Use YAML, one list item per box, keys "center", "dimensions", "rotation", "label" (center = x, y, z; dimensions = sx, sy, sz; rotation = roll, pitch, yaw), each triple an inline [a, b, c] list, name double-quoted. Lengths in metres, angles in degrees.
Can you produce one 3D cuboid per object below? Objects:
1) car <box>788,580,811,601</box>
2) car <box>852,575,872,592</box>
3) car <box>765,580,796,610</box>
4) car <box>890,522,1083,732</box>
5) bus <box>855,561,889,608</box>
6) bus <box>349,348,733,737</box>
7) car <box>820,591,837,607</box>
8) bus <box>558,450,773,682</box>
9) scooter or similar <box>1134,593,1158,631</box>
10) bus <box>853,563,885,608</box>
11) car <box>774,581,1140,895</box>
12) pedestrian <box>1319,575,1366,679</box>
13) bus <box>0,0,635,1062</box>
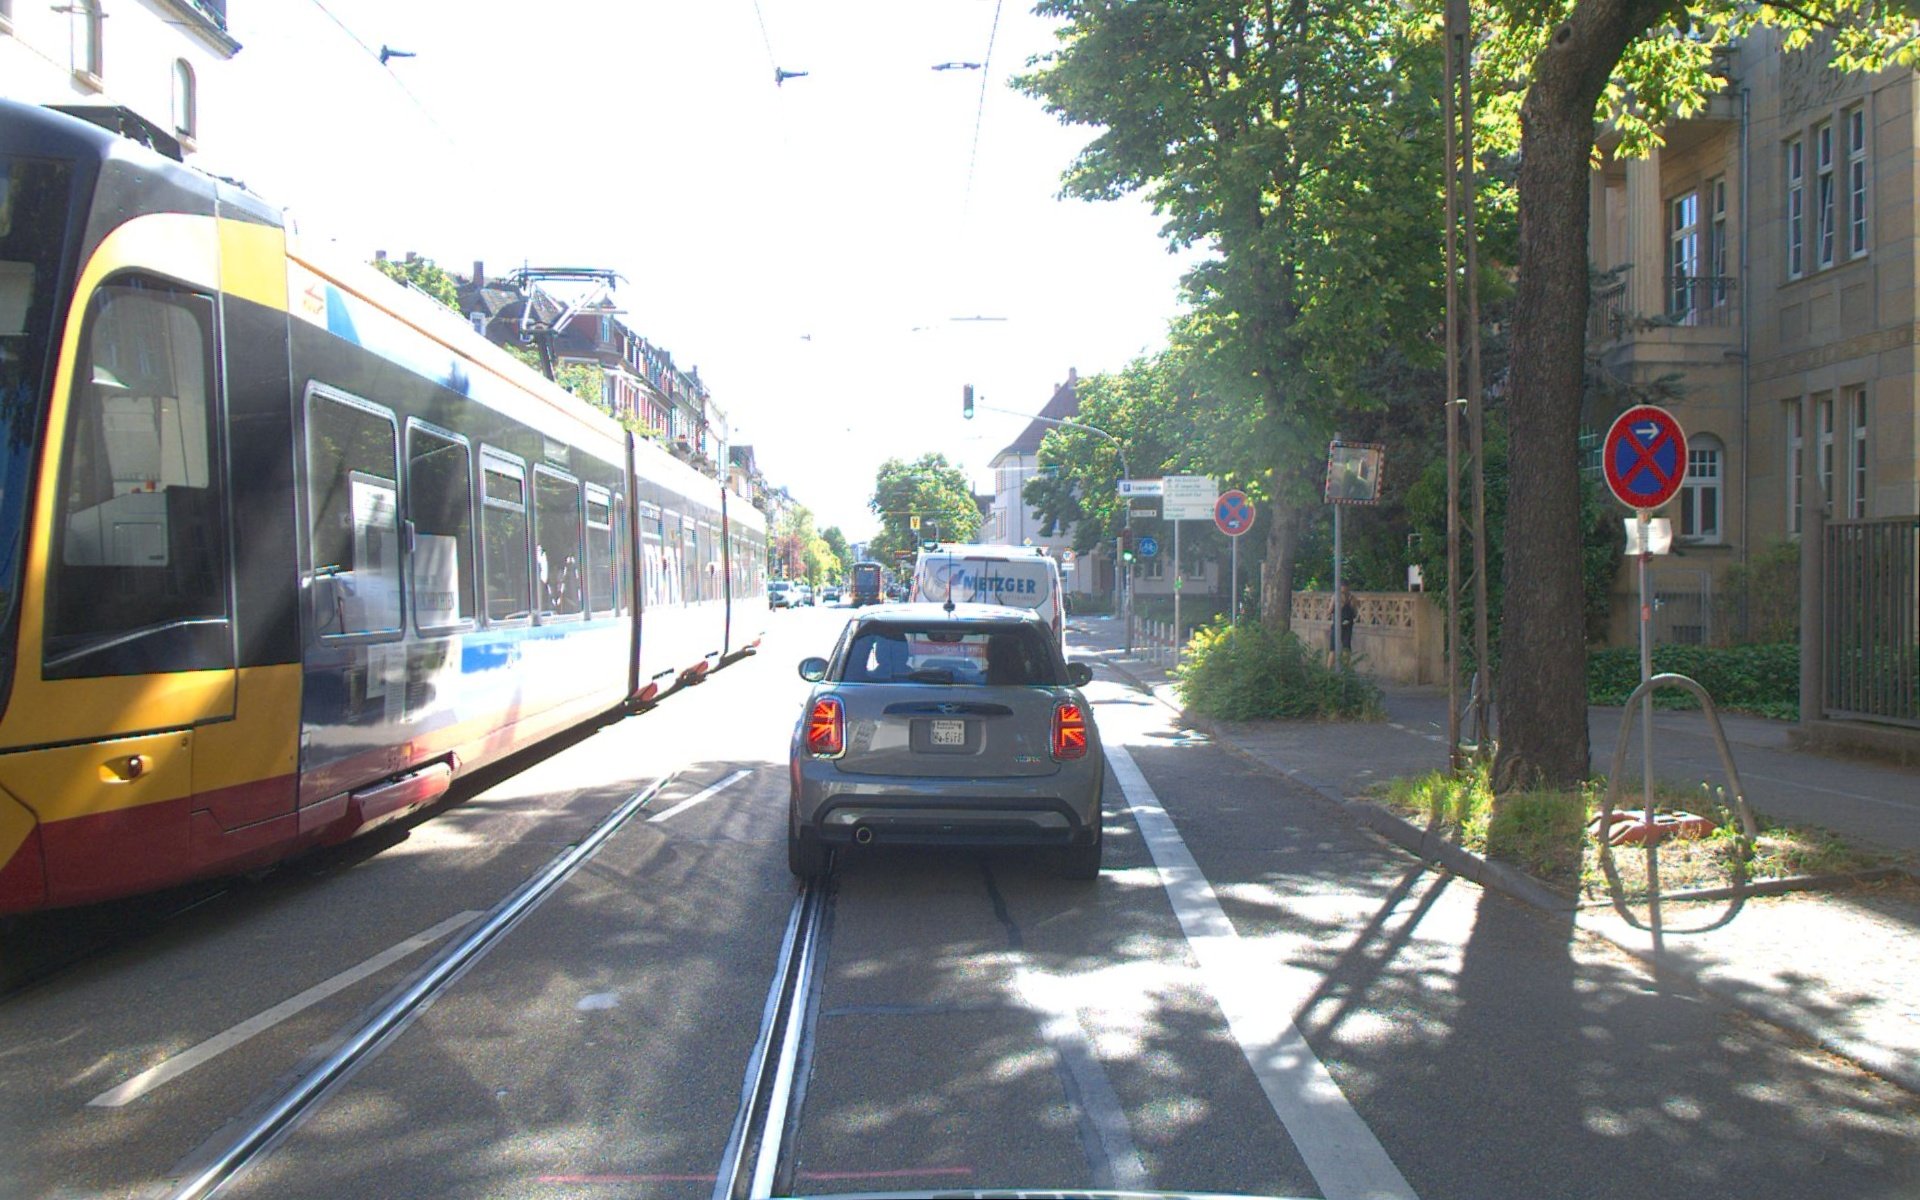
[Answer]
- center: [-13.008, -0.729, 134.486]
  dimensions: [1.741, 1.646, 3.996]
  rotation: [1, 0, -4]
  label: "car"
- center: [-9.589, -1.603, 161.691]
  dimensions: [1.827, 1.591, 3.996]
  rotation: [1, 0, -4]
  label: "car"
- center: [-12.911, -0.355, 119.158]
  dimensions: [1.954, 2.049, 5.026]
  rotation: [1, 0, -3]
  label: "car"
- center: [0.253, 0.306, 20.500]
  dimensions: [2.075, 2.247, 4.943]
  rotation: [1, 0, -1]
  label: "car"
- center: [-6.927, -1.168, 129.017]
  dimensions: [2.339, 3.557, 7.376]
  rotation: [1, 0, -5]
  label: "bus"
- center: [-4.946, -0.550, 22.141]
  dimensions: [2.803, 3.843, 11.176]
  rotation: [1, 0, -3]
  label: "bus"
- center: [-14.040, -0.103, 176.259]
  dimensions: [1.741, 1.646, 3.996]
  rotation: [1, 0, -4]
  label: "car"
- center: [-5.602, -0.543, 33.766]
  dimensions: [2.793, 3.843, 12.189]
  rotation: [1, 0, -3]
  label: "bus"
- center: [6.610, 0.426, 58.912]
  dimensions: [0.662, 1.333, 1.328]
  rotation: [1, 0, -2]
  label: "scooter or similar"
- center: [-7.545, -1.167, 136.403]
  dimensions: [2.339, 3.557, 7.376]
  rotation: [1, 0, -5]
  label: "bus"
- center: [-0.039, 0.689, 10.139]
  dimensions: [1.778, 1.514, 3.999]
  rotation: [1, 0, -1]
  label: "car"
- center: [6.353, 0.447, 27.483]
  dimensions: [0.580, 1.700, 0.646]
  rotation: [-2, 0, -1]
  label: "pedestrian"
- center: [-4.410, -0.462, 10.912]
  dimensions: [2.803, 3.843, 11.490]
  rotation: [1, 0, -3]
  label: "bus"
